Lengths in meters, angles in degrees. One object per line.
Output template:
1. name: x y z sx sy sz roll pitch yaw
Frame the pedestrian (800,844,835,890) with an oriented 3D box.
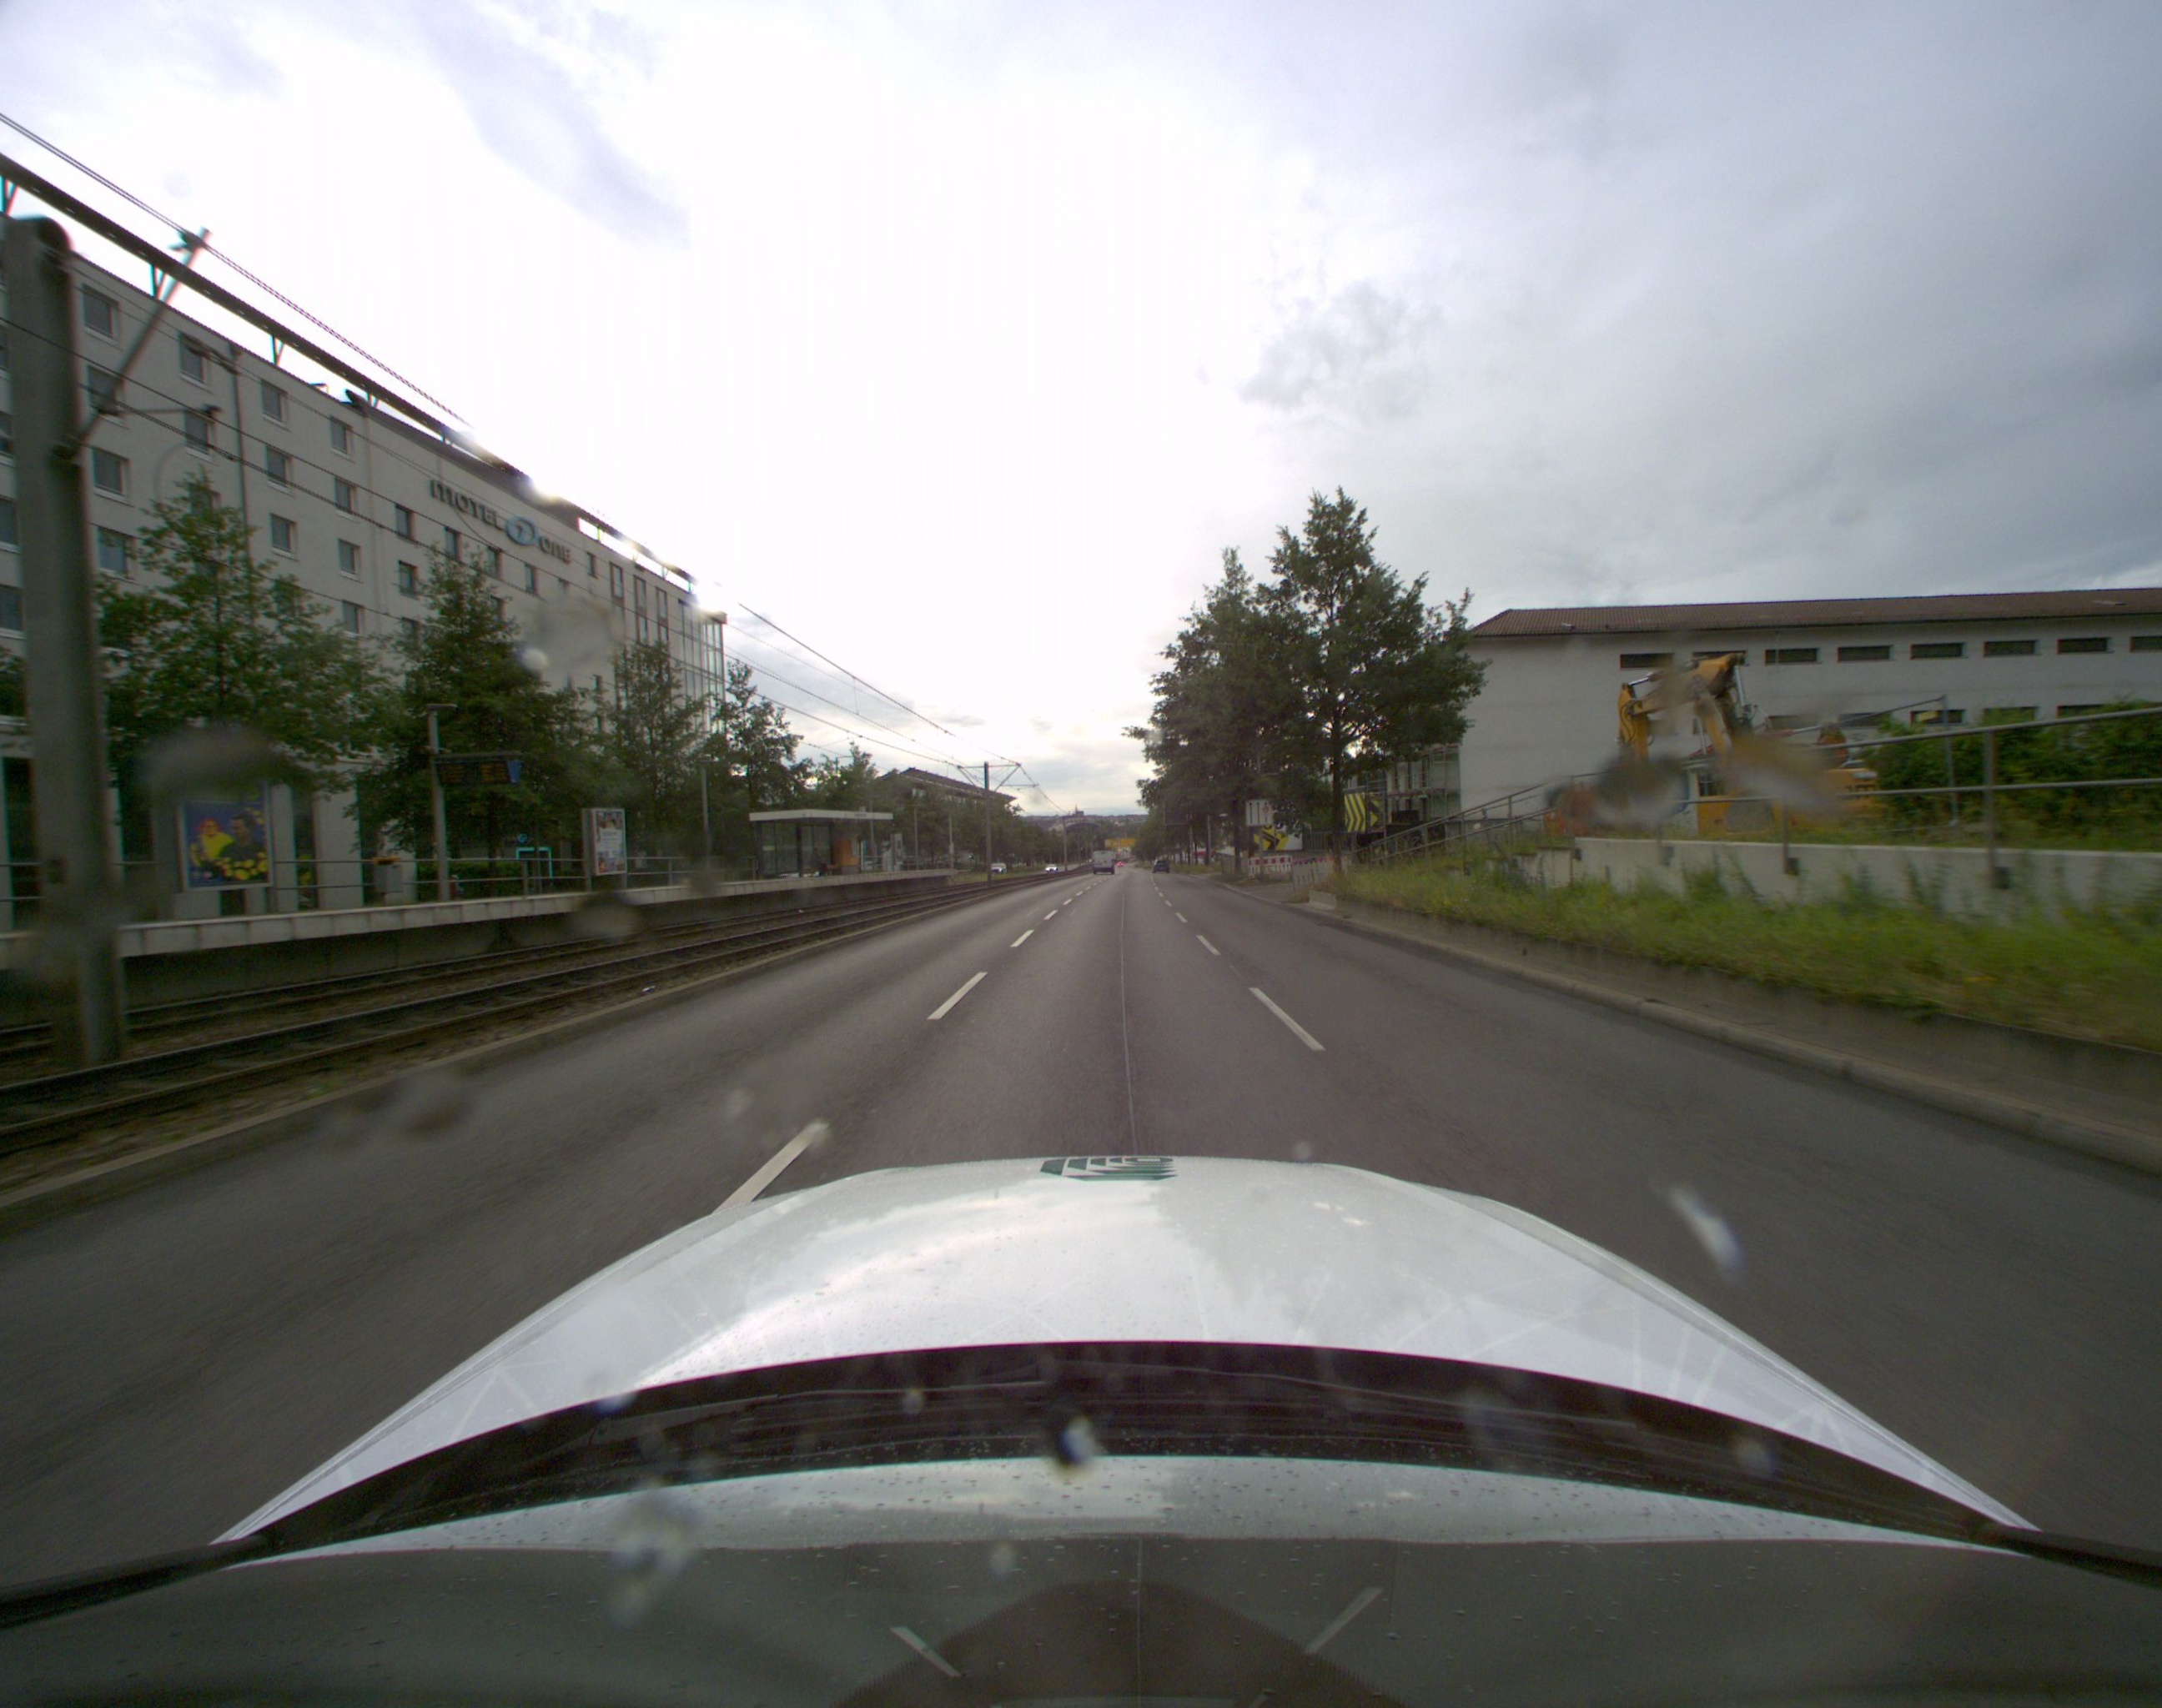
1. pedestrian: -11.898 0.583 36.811 1.121 2.014 1.272 0 -1 4

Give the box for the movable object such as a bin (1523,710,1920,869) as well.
1. movable object such as a bin: 24.307 -2.324 31.515 12.099 5.261 3.789 -2 -1 0

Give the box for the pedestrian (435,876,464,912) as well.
1. pedestrian: -28.012 1.754 36.108 0.597 1.578 0.836 0 -1 3

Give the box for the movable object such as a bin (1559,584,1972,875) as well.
1. movable object such as a bin: 15.944 -2.373 20.336 3.276 5.685 8.771 0 -1 4

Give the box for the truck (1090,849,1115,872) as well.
1. truck: 2.190 0.648 81.480 2.351 2.262 5.307 0 -1 2

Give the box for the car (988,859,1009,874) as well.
1. car: -11.032 1.683 109.143 1.985 1.847 5.006 -3 0 4

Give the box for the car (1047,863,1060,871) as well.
1. car: -5.145 2.430 152.040 1.829 1.444 4.433 -4 0 4

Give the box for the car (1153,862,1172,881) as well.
1. car: 8.840 1.877 88.637 1.985 2.014 3.938 0 -1 4
